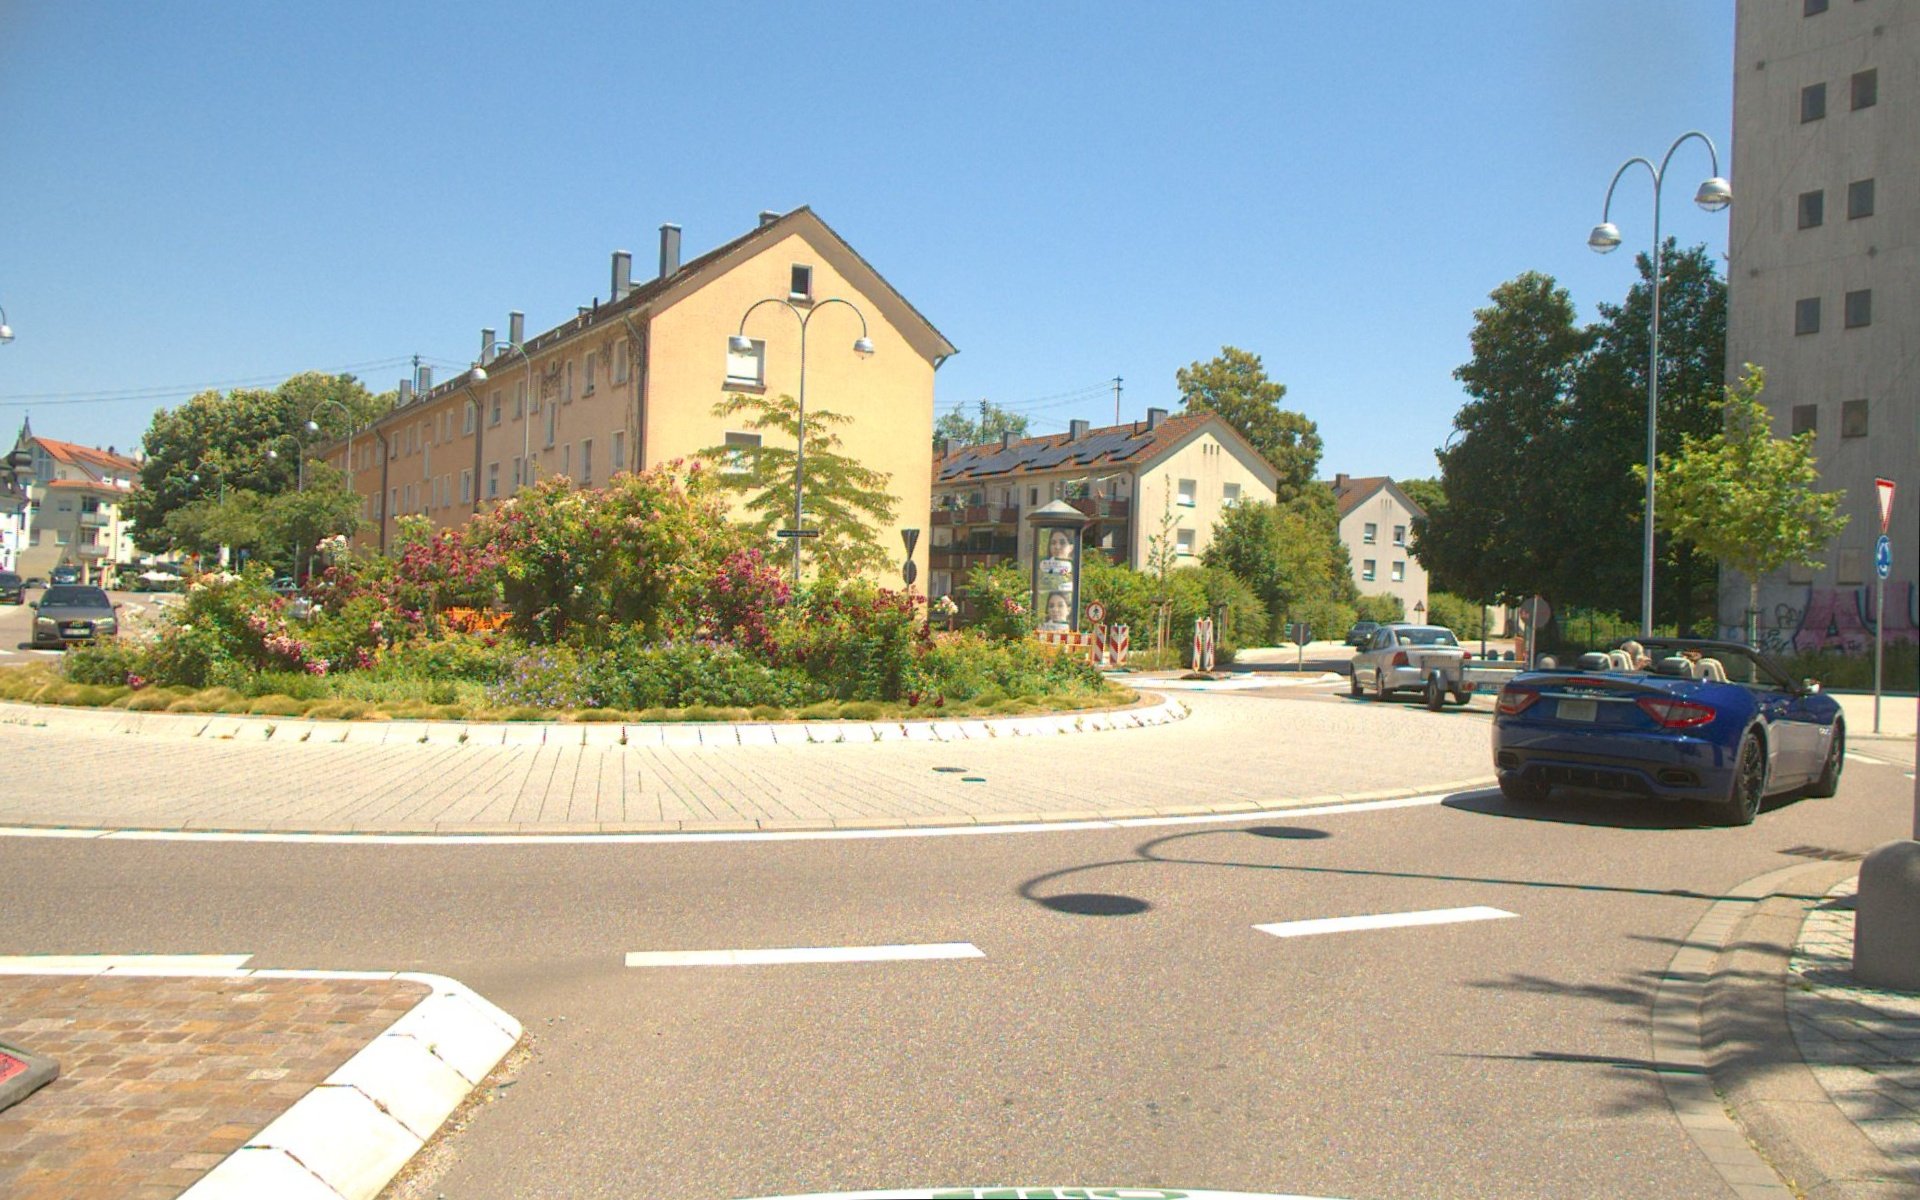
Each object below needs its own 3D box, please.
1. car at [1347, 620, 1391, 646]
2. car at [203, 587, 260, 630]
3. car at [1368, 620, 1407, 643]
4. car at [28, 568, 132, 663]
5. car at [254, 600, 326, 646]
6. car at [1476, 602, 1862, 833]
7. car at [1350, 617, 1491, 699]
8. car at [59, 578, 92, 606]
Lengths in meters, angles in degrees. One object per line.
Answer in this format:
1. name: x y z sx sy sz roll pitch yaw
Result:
1. car: 24.112 1.941 97.355 1.705 1.462 3.705 0 -1 27
2. car: -32.946 0.360 74.720 1.794 1.825 3.958 4 -2 -31
3. car: 28.247 2.045 109.275 1.705 1.462 3.705 0 -1 27
4. car: -20.847 0.348 39.309 1.970 2.049 3.965 4 -1 -27
5. car: -24.638 0.818 60.719 1.794 1.526 3.958 4 -2 -31
6. car: 6.020 0.892 13.720 1.841 1.557 4.485 1 -2 38
7. car: 8.650 1.047 31.342 1.703 1.462 3.711 0 -1 1
8. car: -62.572 -0.559 117.023 1.794 1.825 3.958 4 -2 -31
